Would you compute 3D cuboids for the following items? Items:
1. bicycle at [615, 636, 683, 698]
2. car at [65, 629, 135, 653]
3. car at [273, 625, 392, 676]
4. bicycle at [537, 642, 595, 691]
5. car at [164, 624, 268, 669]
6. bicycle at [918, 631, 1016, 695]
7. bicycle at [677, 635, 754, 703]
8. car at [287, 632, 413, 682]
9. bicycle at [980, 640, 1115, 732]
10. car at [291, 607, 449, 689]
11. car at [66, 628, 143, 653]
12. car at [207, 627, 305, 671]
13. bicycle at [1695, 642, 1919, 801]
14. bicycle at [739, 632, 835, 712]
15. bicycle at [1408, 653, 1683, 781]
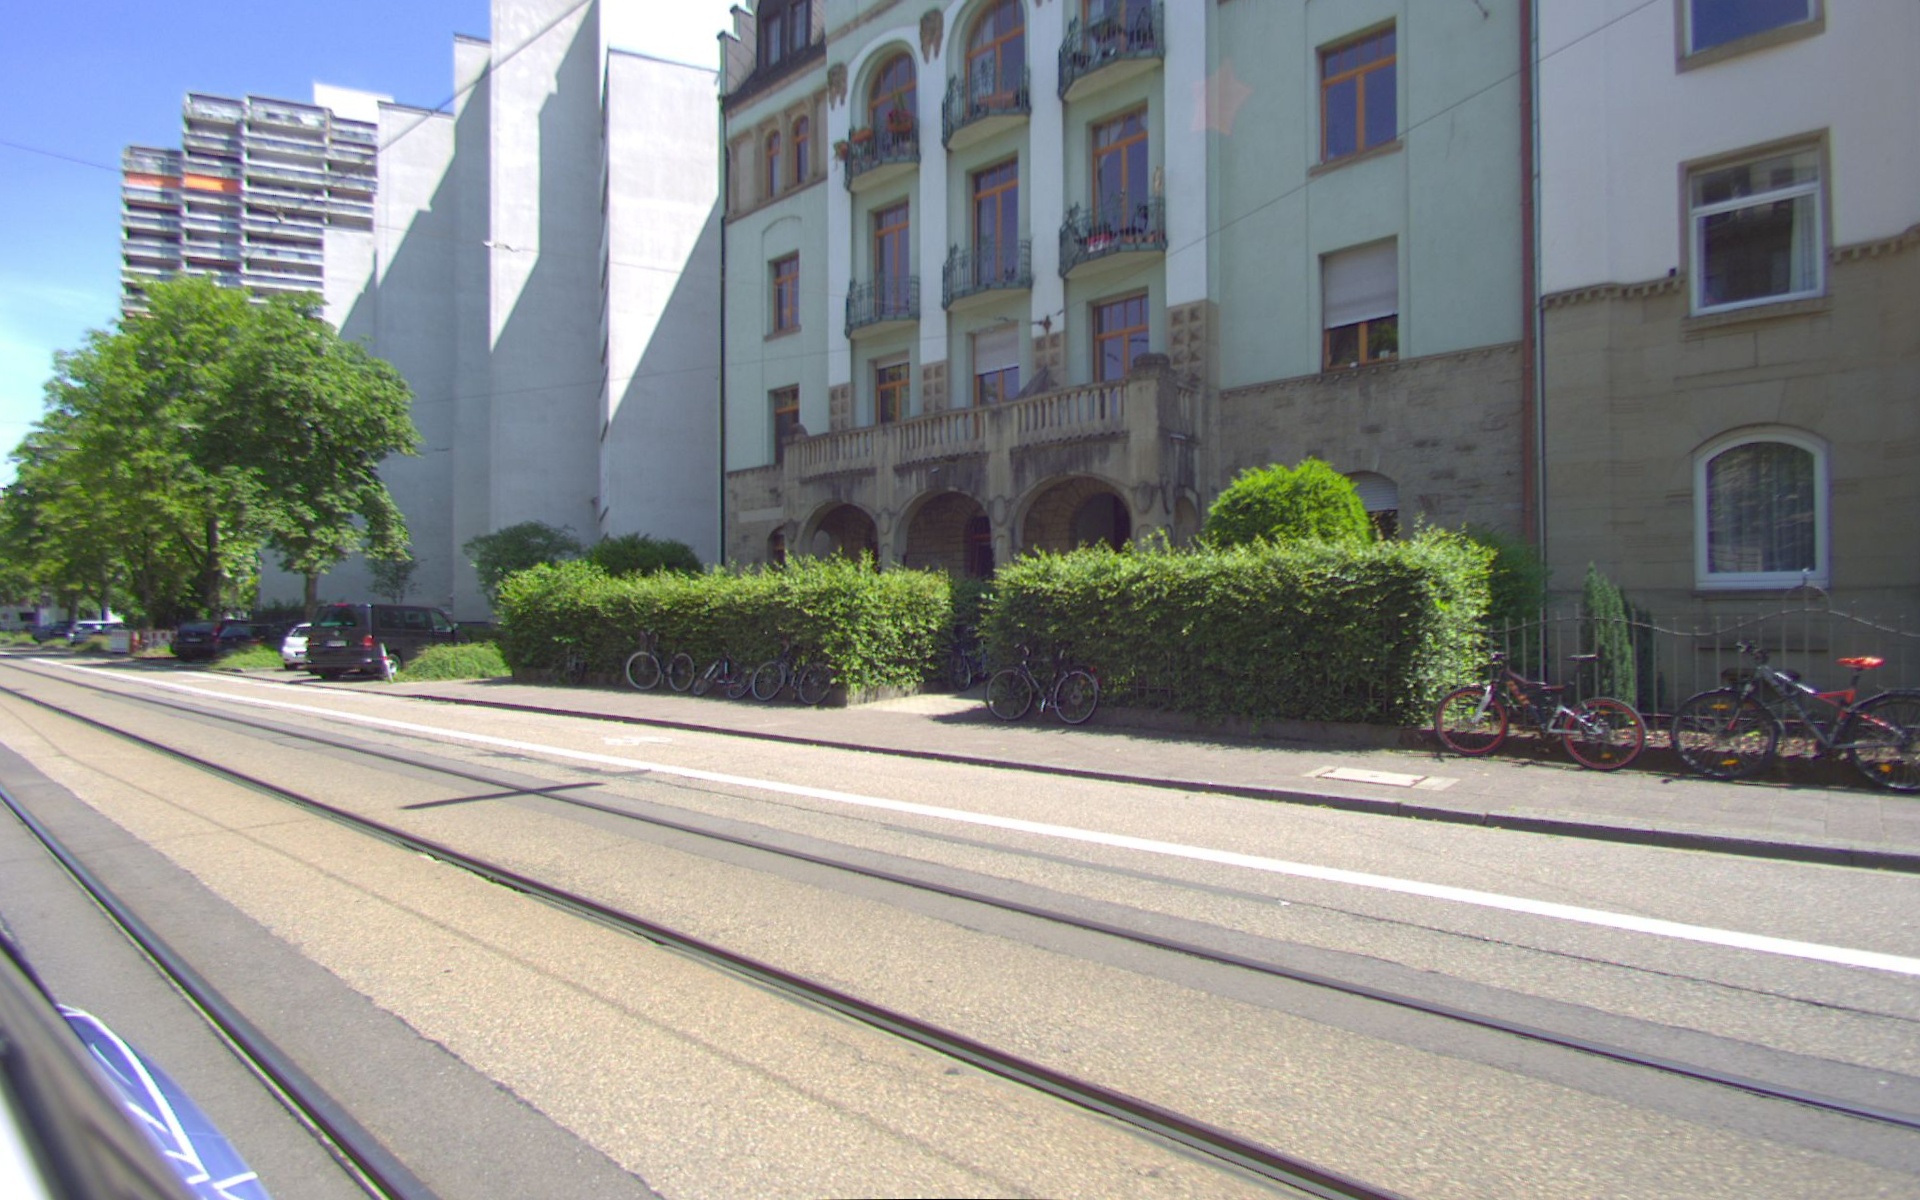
[{"bbox_3d":[-5.744,1.215,18.663,1.727,1.076,0.336,-1,0,41],"label":"bicycle"},{"bbox_3d":[-49.329,2.331,58.131,1.345,1.311,3.312,-1,-1,-4],"label":"car"},{"bbox_3d":[-19.770,1.551,32.073,1.713,1.437,3.895,-1,-1,-6],"label":"car"},{"bbox_3d":[-8.161,1.366,20.933,1.727,0.948,0.336,-2,0,41],"label":"bicycle"},{"bbox_3d":[-27.702,1.693,37.824,1.614,1.561,3.816,0,-1,-10],"label":"car"},{"bbox_3d":[0.156,1.074,17.719,0.374,1.003,2.199,-1,0,41],"label":"bicycle"},{"bbox_3d":[-4.198,1.163,17.318,1.727,1.076,0.336,-1,0,41],"label":"bicycle"},{"bbox_3d":[-17.647,1.612,29.467,1.501,1.249,3.561,-1,0,1],"label":"car"},{"bbox_3d":[1.072,1.053,12.796,1.899,1.054,0.286,-1,0,41],"label":"bicycle"},{"bbox_3d":[-15.468,1.189,26.791,1.887,1.984,3.906,-1,0,1],"label":"car"},{"bbox_3d":[-47.215,2.217,55.951,1.473,1.276,3.486,-1,-1,-4],"label":"car"},{"bbox_3d":[-25.191,1.736,36.326,1.469,1.410,3.285,-1,0,-6],"label":"car"},{"bbox_3d":[6.772,0.882,7.541,2.045,1.105,0.487,-2,-1,41],"label":"bicycle"},{"bbox_3d":[-2.766,1.109,16.044,1.932,1.173,0.336,-1,0,41],"label":"bicycle"},{"bbox_3d":[5.104,0.979,8.946,2.045,0.978,0.395,-2,-1,41],"label":"bicycle"}]
